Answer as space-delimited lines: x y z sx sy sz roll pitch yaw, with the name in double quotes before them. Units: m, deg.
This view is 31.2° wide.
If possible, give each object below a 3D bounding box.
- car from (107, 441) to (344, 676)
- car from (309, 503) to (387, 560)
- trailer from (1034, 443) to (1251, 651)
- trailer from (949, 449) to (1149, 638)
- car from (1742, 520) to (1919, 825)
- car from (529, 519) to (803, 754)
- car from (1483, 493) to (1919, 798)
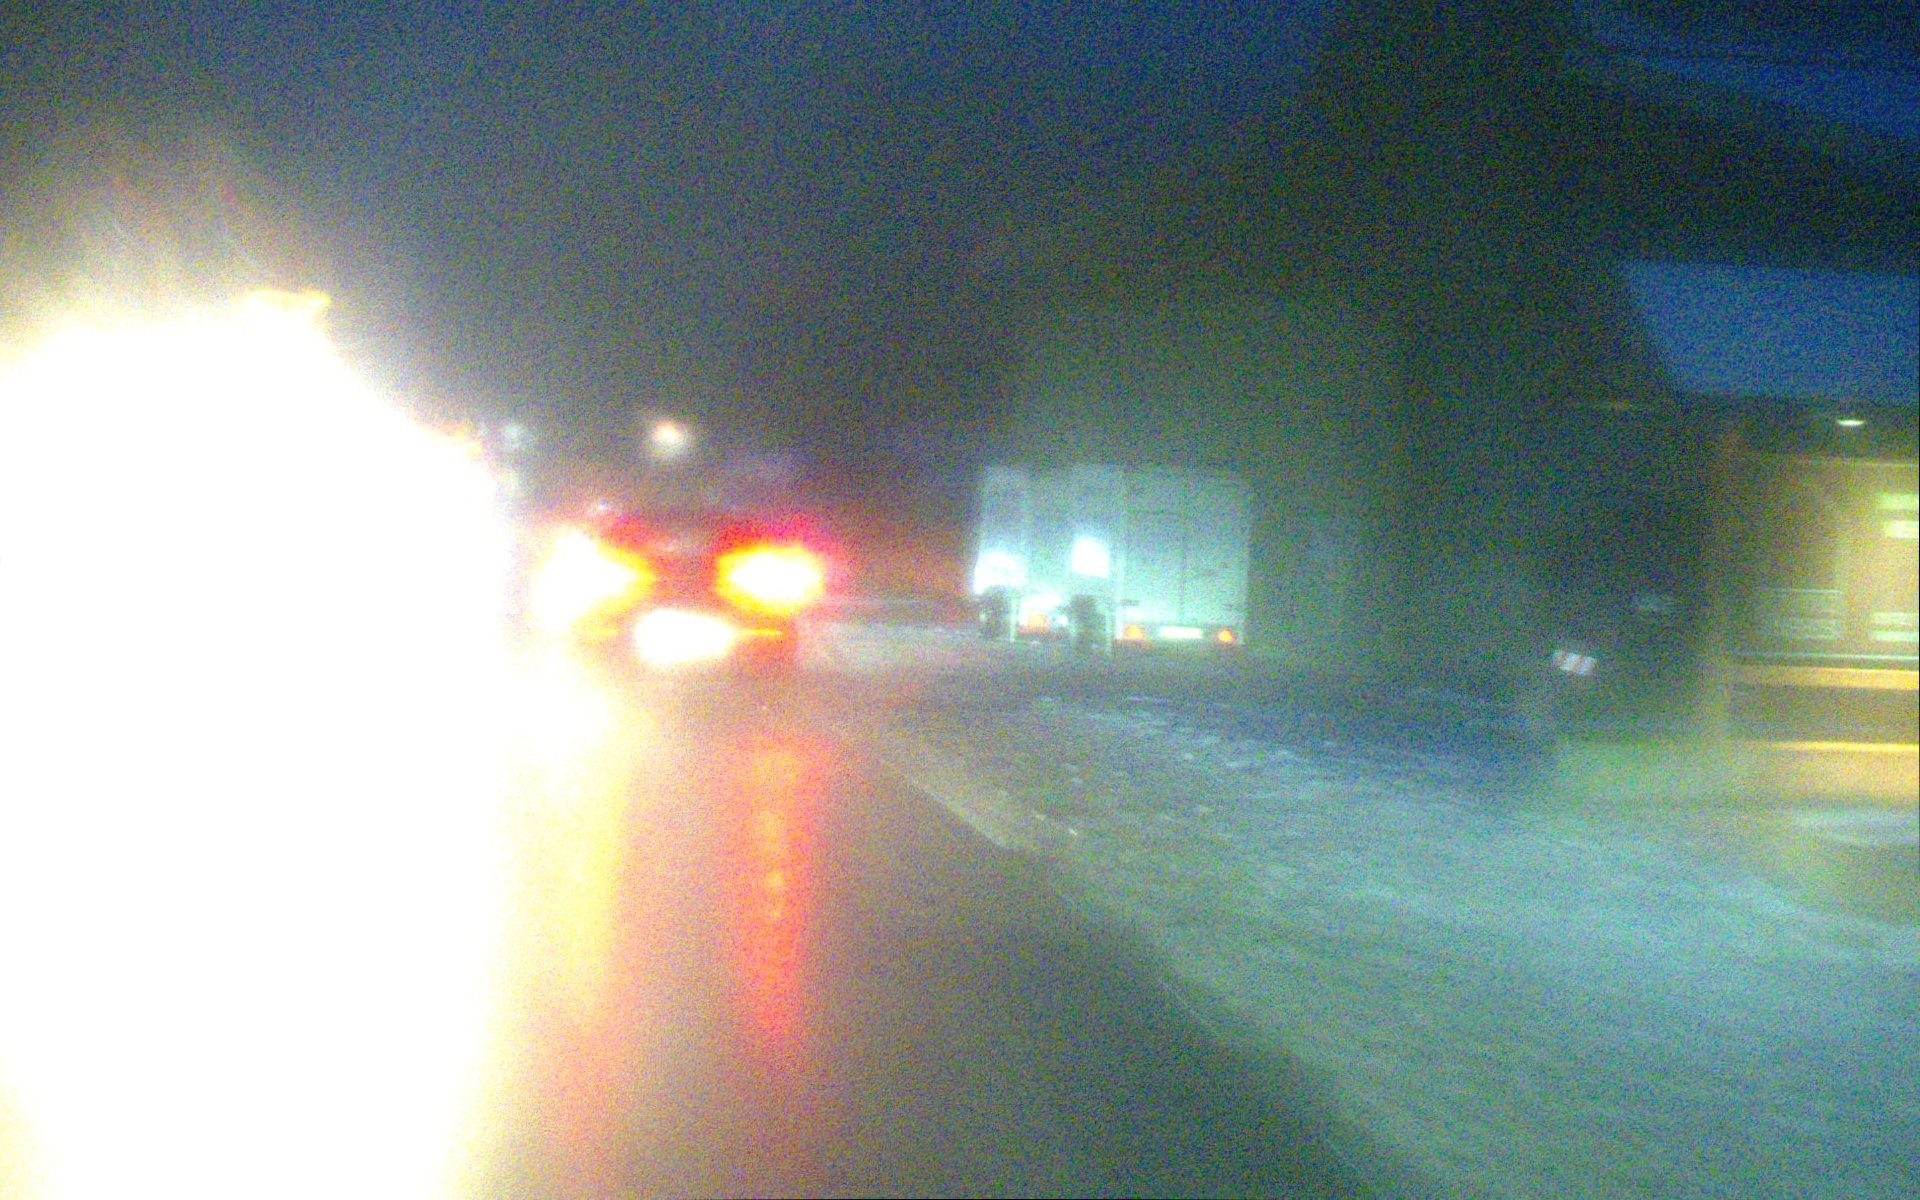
"car" -7.106 -0.426 33.658 1.918 2.050 4.889 3 1 -9
"car" -16.238 -1.833 91.387 1.993 1.455 4.900 0 1 -10
"trailer" 2.198 -0.682 42.627 1.605 2.344 4.432 4 1 -10
"trailer" 1.162 -0.805 47.337 1.629 2.356 4.655 4 1 -11
"car" 6.580 0.465 20.840 1.877 1.803 4.157 3 1 -13
"car" -2.368 0.229 26.911 1.801 1.623 3.616 2 1 -9
"car" 5.674 0.271 25.750 1.877 2.033 4.392 3 1 -13
